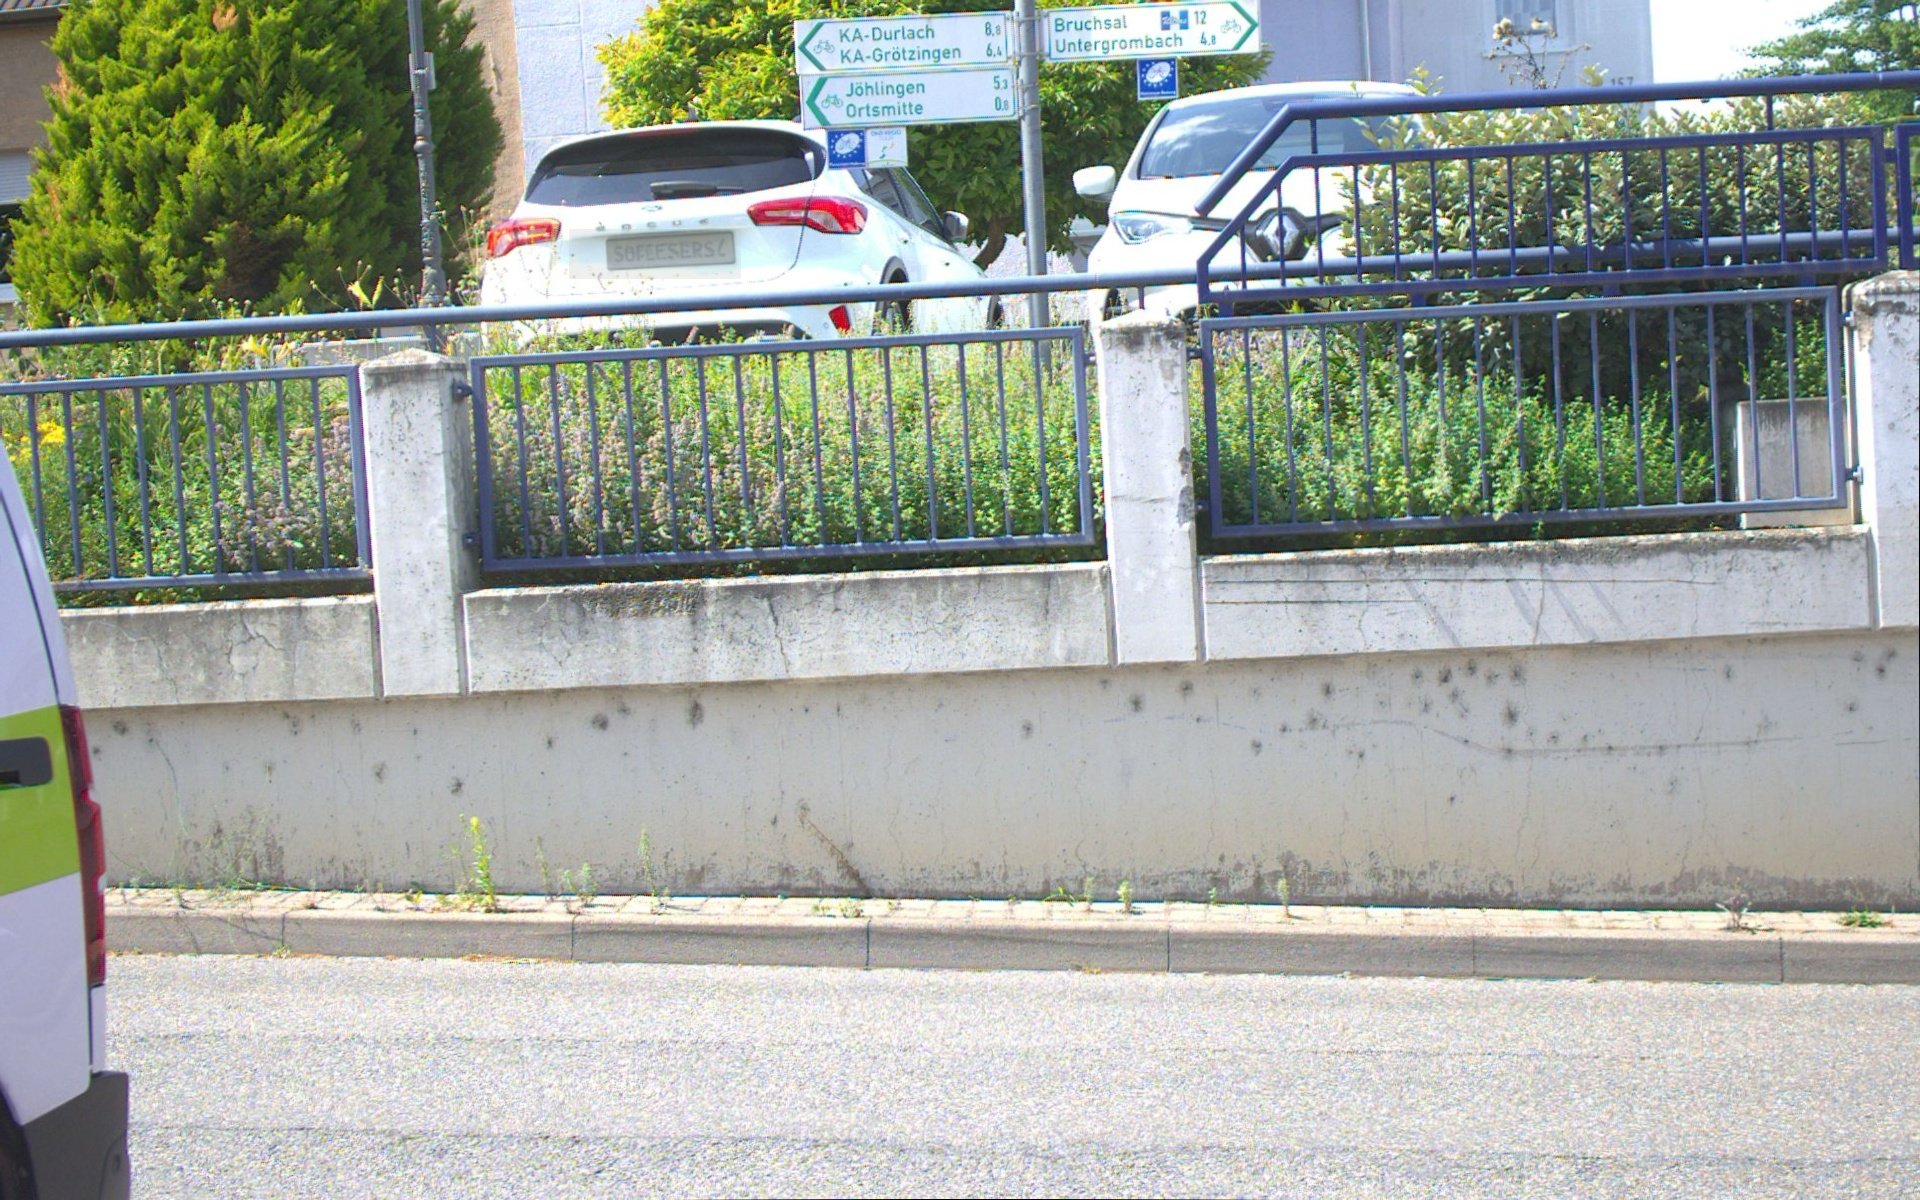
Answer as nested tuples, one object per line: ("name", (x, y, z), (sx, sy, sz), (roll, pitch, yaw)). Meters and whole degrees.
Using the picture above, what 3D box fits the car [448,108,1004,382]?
("car", (-0.959, -1.583, 15.935), (1.825, 1.016, 3.458), (1, 2, 9))

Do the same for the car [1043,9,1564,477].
("car", (1.662, -1.477, 15.528), (1.994, 1.791, 4.195), (1, 2, 9))

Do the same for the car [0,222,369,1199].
("car", (-2.887, 0.424, 3.737), (1.815, 1.848, 4.551), (3, 3, 32))
